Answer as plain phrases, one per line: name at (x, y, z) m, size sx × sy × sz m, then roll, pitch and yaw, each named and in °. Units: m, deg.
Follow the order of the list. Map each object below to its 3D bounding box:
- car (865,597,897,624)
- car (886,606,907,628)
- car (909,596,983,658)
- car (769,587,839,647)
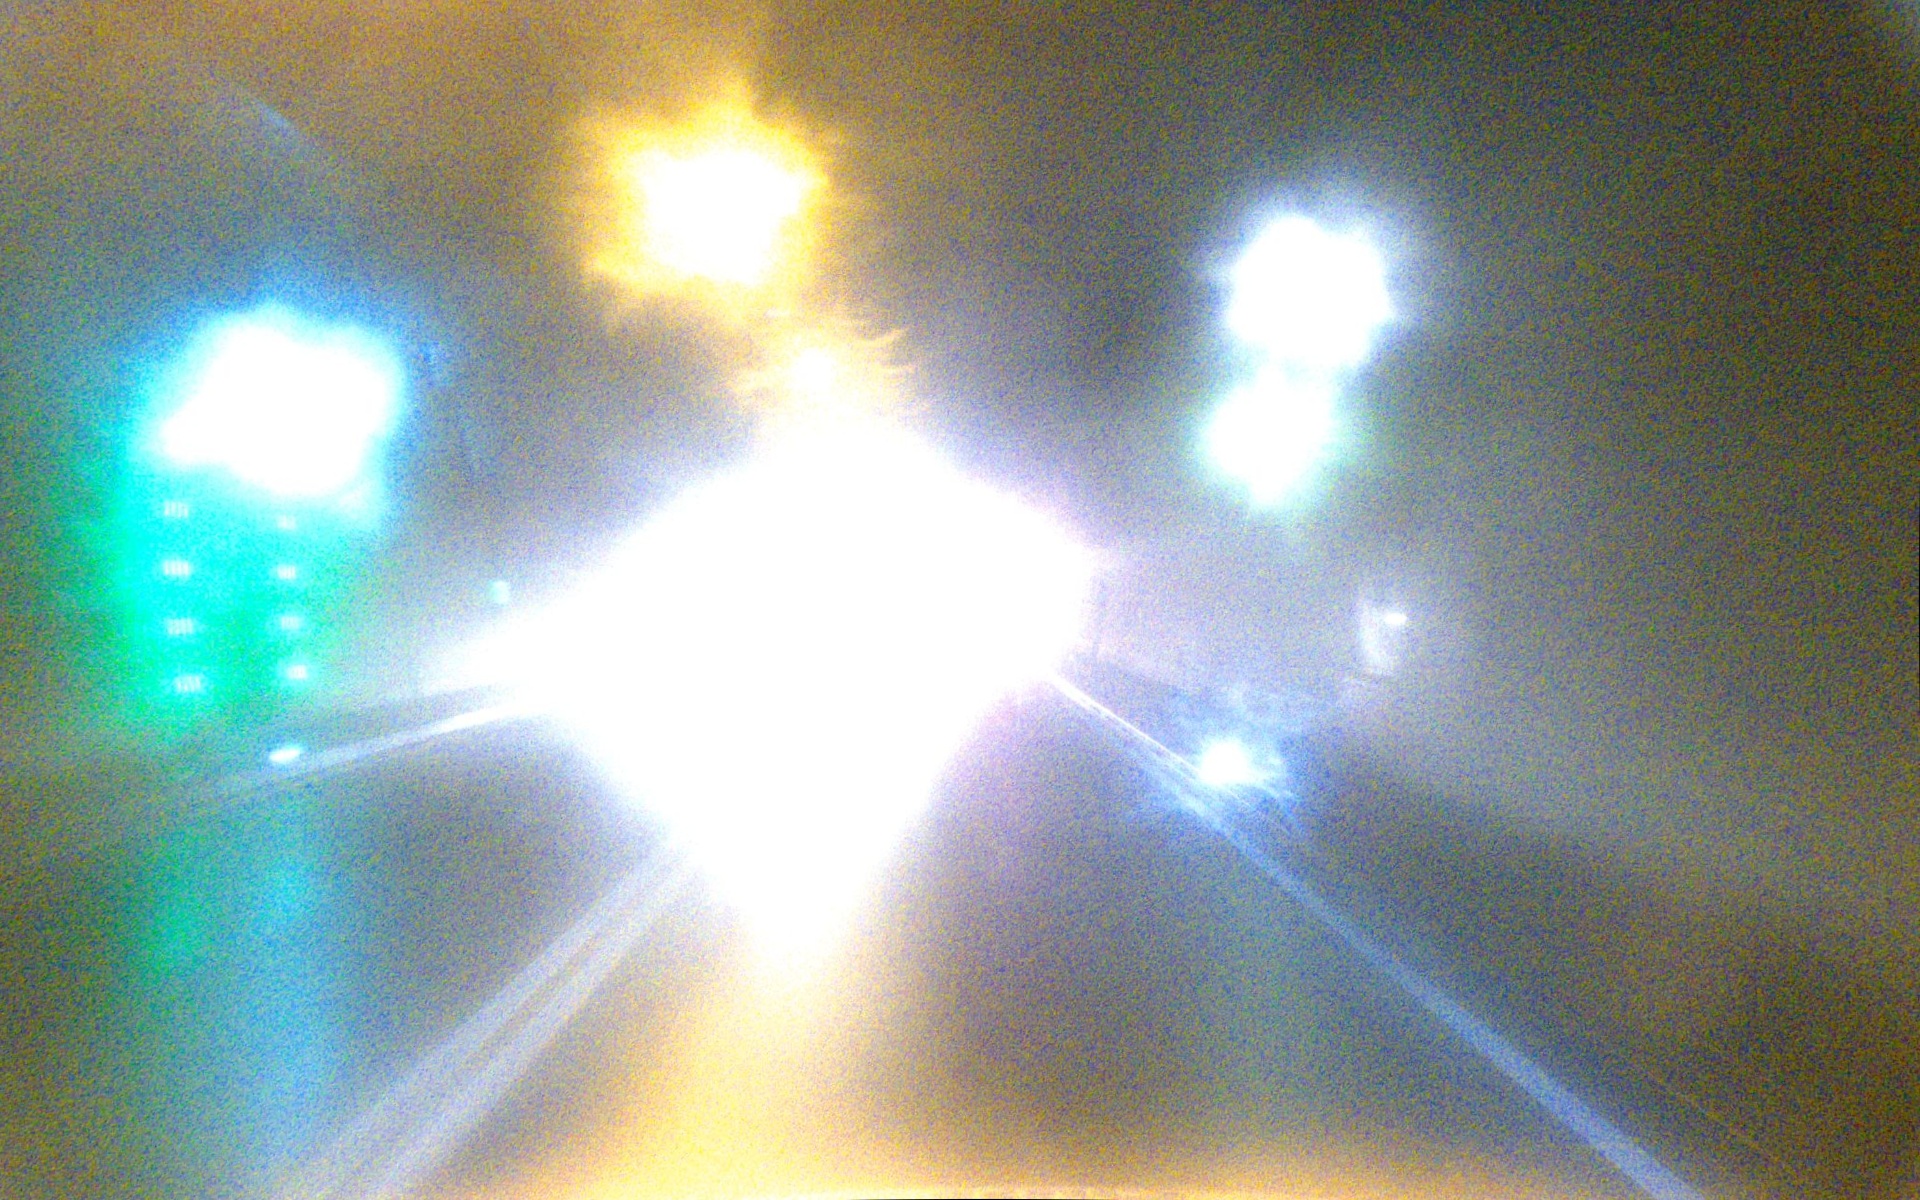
car at (-4.463, 0.600, 93.306) m, size 1.676 × 1.488 × 3.574 m, roll 1°, pitch 0°, yaw -1°
car at (-5.295, 1.412, 138.720) m, size 1.635 × 1.676 × 3.906 m, roll -1°, pitch 1°, yaw -1°
car at (-0.437, 0.772, 48.534) m, size 2.047 × 1.691 × 3.999 m, roll 1°, pitch 0°, yaw -2°
car at (-4.238, 0.448, 45.356) m, size 1.656 × 1.531 × 3.743 m, roll 1°, pitch 0°, yaw -2°
